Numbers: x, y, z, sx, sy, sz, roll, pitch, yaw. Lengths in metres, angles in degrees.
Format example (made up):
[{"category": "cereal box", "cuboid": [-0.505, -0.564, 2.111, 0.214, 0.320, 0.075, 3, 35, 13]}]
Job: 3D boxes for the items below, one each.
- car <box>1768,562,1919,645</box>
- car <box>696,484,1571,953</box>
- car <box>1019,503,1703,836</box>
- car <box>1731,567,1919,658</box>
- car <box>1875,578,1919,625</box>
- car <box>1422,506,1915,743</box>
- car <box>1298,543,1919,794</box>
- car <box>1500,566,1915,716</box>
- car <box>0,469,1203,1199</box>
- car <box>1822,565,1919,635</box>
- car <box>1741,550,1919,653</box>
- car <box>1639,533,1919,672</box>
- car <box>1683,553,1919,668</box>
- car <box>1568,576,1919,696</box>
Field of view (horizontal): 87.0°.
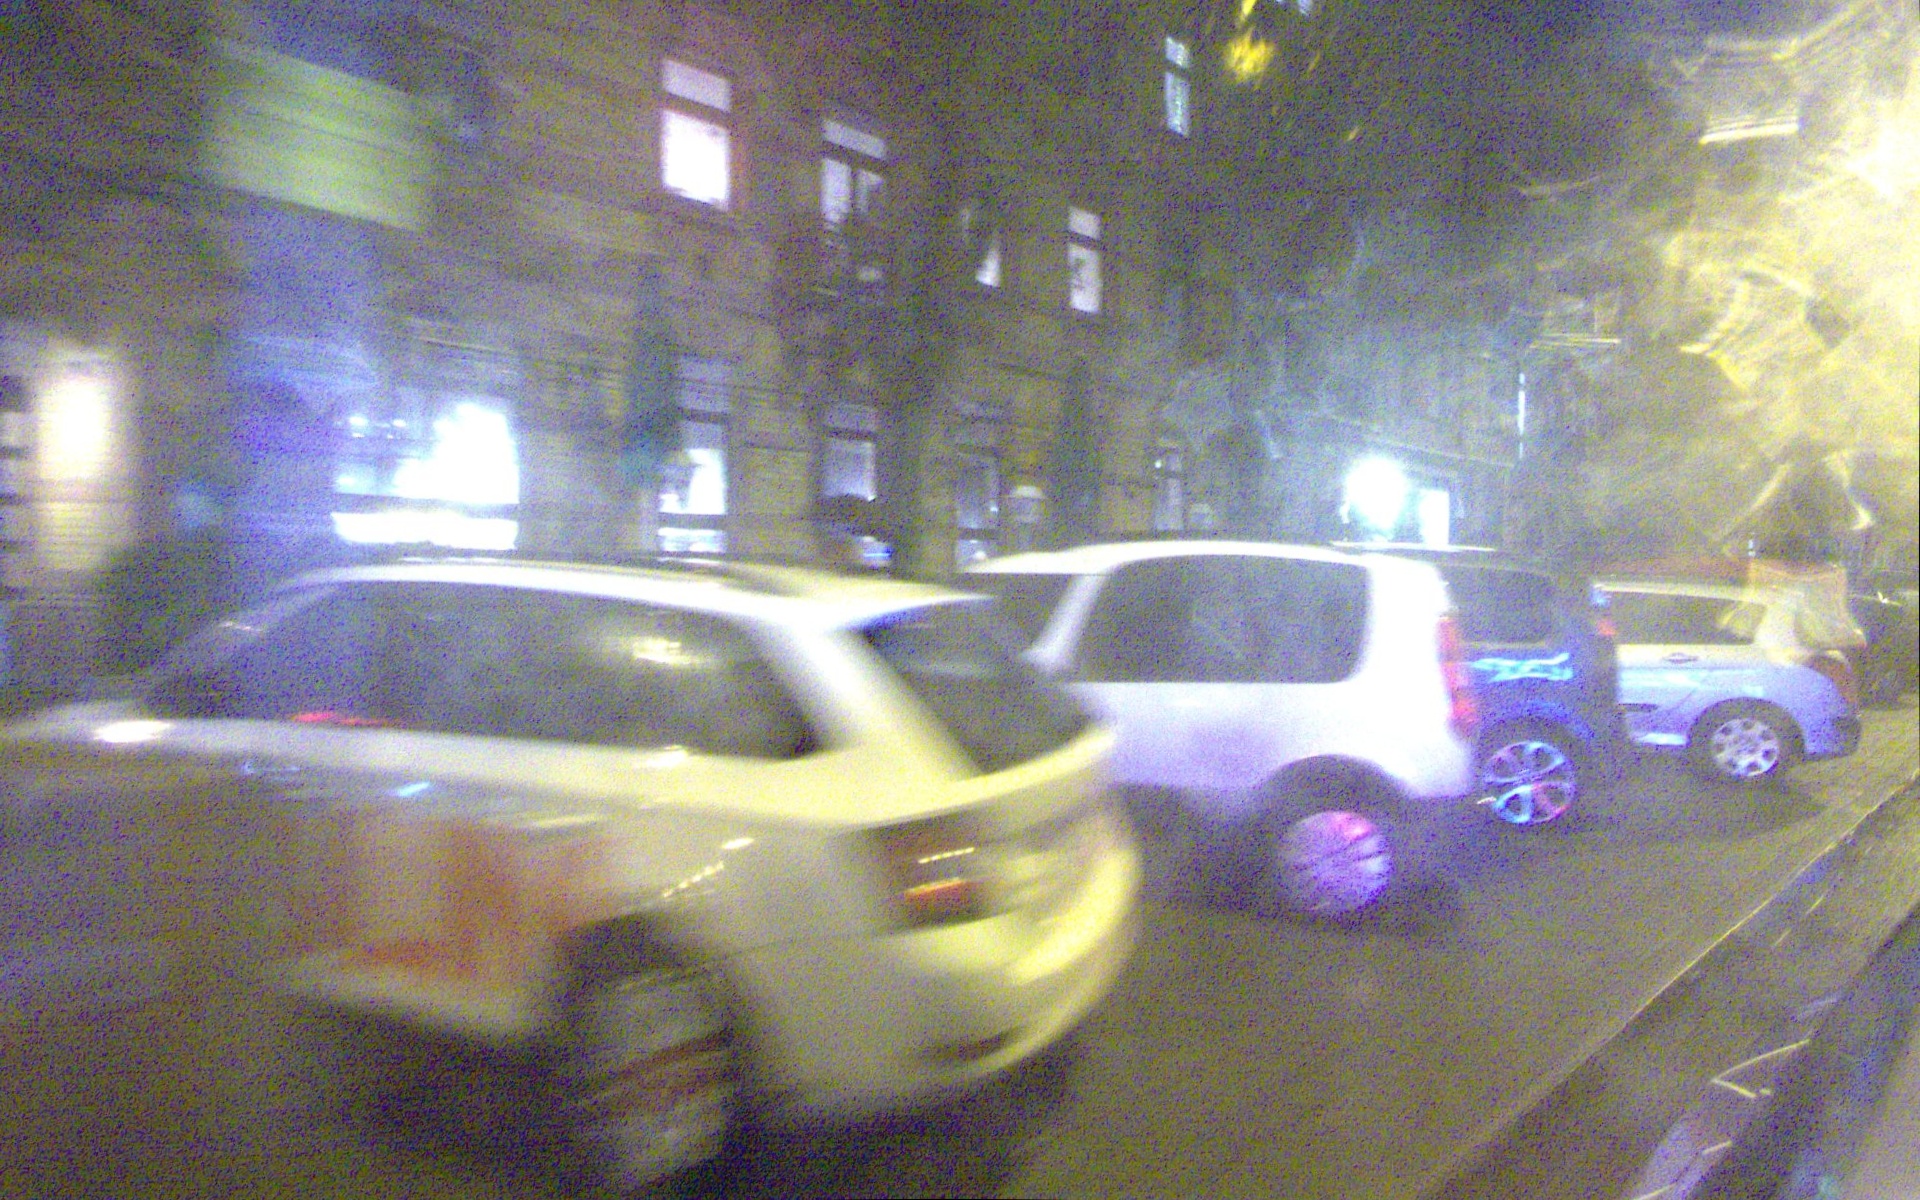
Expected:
[{"category": "car", "cuboid": [21.695, 0.084, 23.775, 3.899, 1.763, 1.694, 4, 3, 28]}, {"category": "car", "cuboid": [0.744, 0.370, 5.238, 3.688, 1.733, 1.764, 3, 3, 16]}, {"category": "car", "cuboid": [2.438, 0.302, 6.897, 3.740, 1.733, 1.741, 3, 3, 16]}, {"category": "car", "cuboid": [17.803, 0.238, 19.782, 3.880, 1.568, 1.735, 3, 3, 17]}, {"category": "car", "cuboid": [32.616, 0.113, 32.854, 3.897, 1.481, 1.695, 4, 3, 27]}, {"category": "car", "cuboid": [7.012, 0.142, 10.488, 3.687, 2.053, 1.714, 3, 3, 15]}, {"category": "car", "cuboid": [5.099, 0.405, 8.669, 4.027, 1.617, 1.821, 3, 3, 23]}, {"category": "car", "cuboid": [8.870, 0.398, 12.396, 3.657, 1.470, 1.649, 3, 3, 19]}, {"category": "car", "cuboid": [-1.446, 0.426, 3.534, 4.214, 1.592, 1.759, 3, 3, 22]}, {"category": "car", "cuboid": [24.185, 0.029, 25.101, 3.899, 1.639, 1.694, 4, 3, 28]}, {"category": "car", "cuboid": [19.862, 0.035, 21.528, 4.656, 2.004, 1.966, 3, 3, 21]}, {"category": "car", "cuboid": [13.470, -0.005, 16.168, 3.875, 1.966, 1.737, 3, 3, 13]}, {"category": "car", "cuboid": [15.486, 0.151, 17.914, 3.875, 1.814, 1.737, 3, 3, 13]}, {"category": "car", "cuboid": [11.096, 0.444, 14.224, 3.999, 1.471, 1.671, 2, 1, 15]}]
